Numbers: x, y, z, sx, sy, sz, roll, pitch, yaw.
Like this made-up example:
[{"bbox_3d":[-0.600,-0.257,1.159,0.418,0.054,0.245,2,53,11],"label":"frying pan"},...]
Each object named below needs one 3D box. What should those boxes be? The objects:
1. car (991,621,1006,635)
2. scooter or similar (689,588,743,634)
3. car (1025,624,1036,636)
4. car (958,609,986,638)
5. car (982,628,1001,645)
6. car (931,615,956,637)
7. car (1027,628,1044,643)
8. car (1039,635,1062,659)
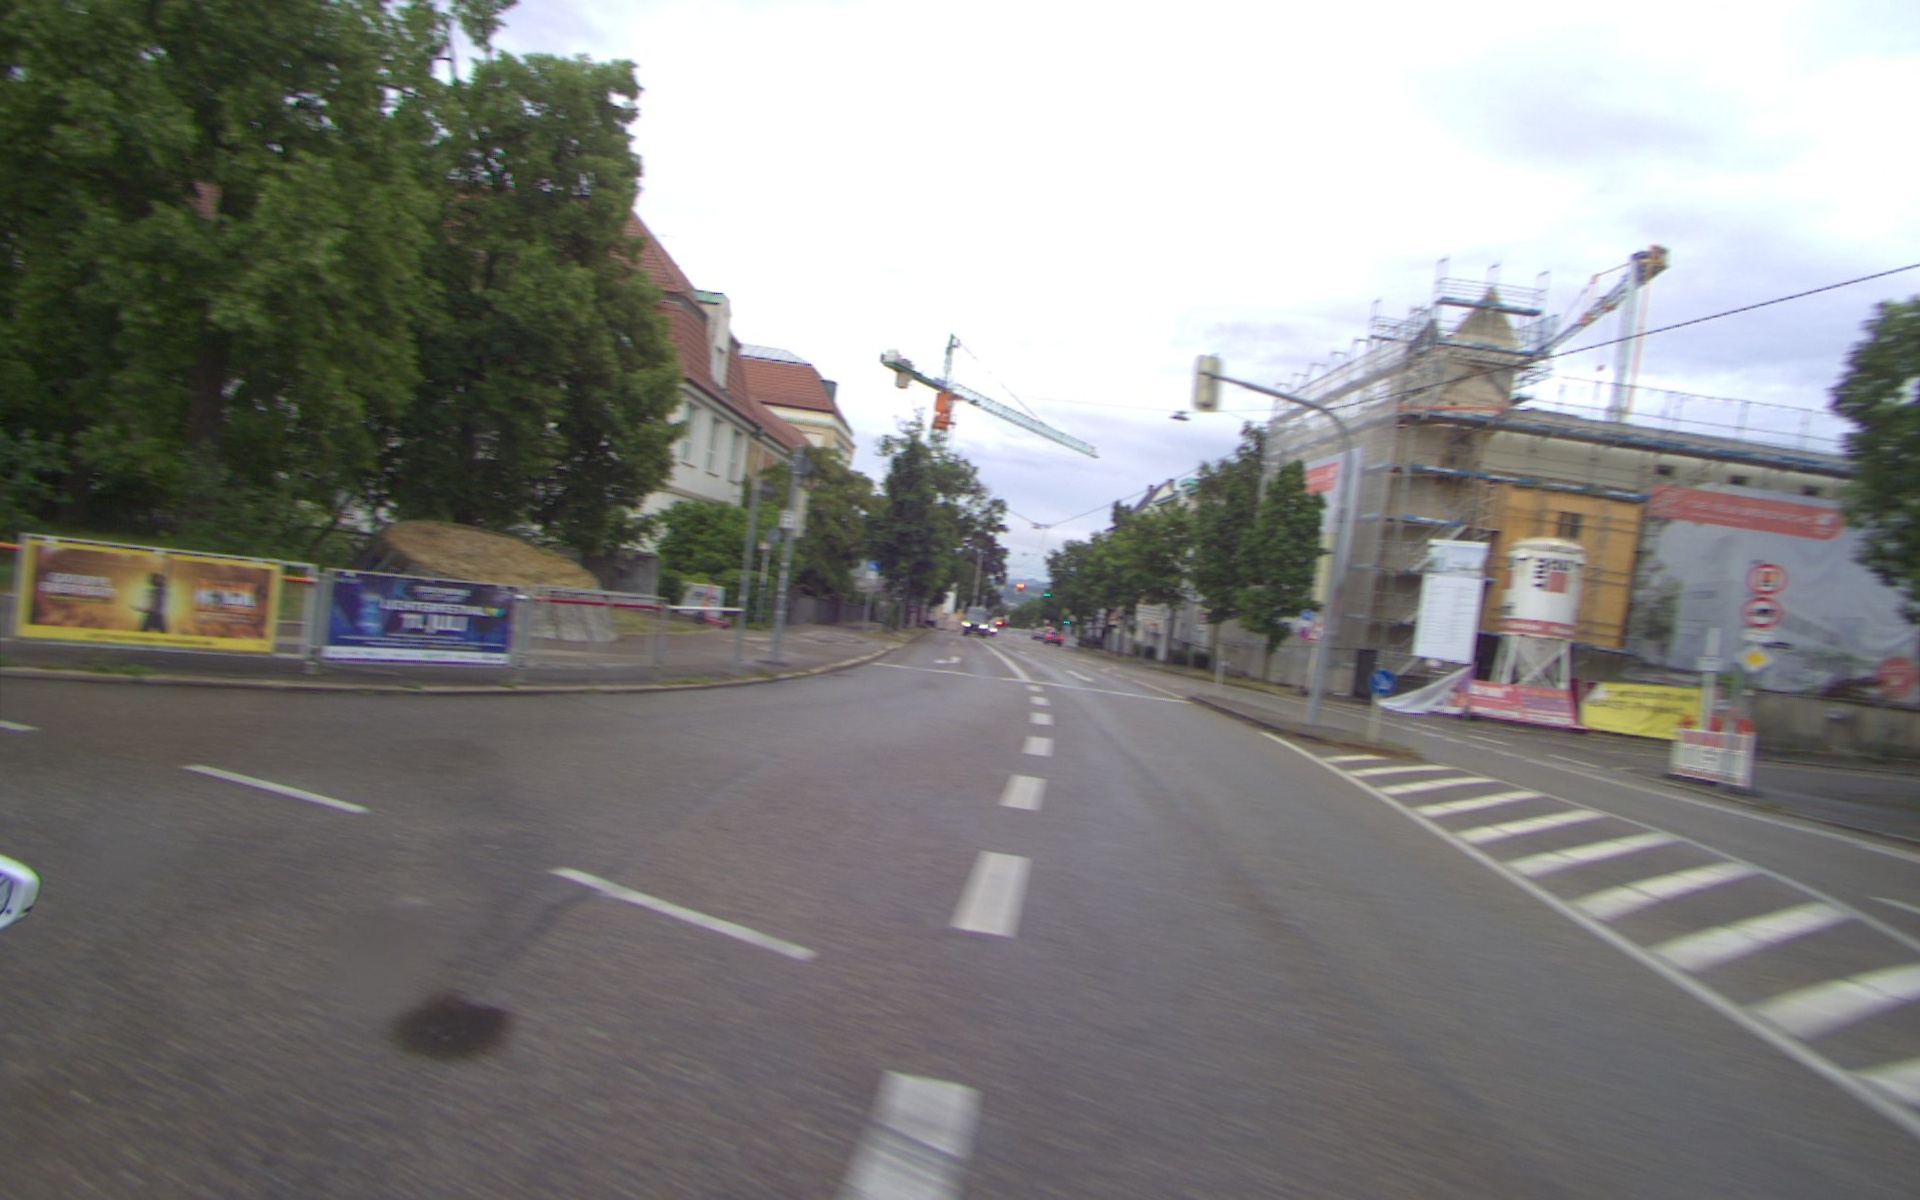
[{"bbox_3d":[5.276,3.793,137.983,1.748,1.598,3.872,9,0,5],"label":"car"},{"bbox_3d":[-5.965,0.274,24.627,0.531,0.965,1.086,9,-1,38],"label":"scooter or similar"},{"bbox_3d":[14.764,6.250,210.723,1.963,2.038,4.000,9,0,2],"label":"car"},{"bbox_3d":[1.081,2.049,87.870,1.806,2.238,4.001,9,0,5],"label":"car"},{"bbox_3d":[3.269,3.722,103.762,1.551,1.478,3.538,9,0,5],"label":"car"},{"bbox_3d":[-1.752,2.782,107.669,1.963,2.038,4.001,9,0,5],"label":"car"},{"bbox_3d":[8.832,4.125,117.679,1.748,1.457,3.872,9,0,5],"label":"car"},{"bbox_3d":[9.135,4.730,101.921,1.963,2.038,4.001,9,0,5],"label":"car"}]
